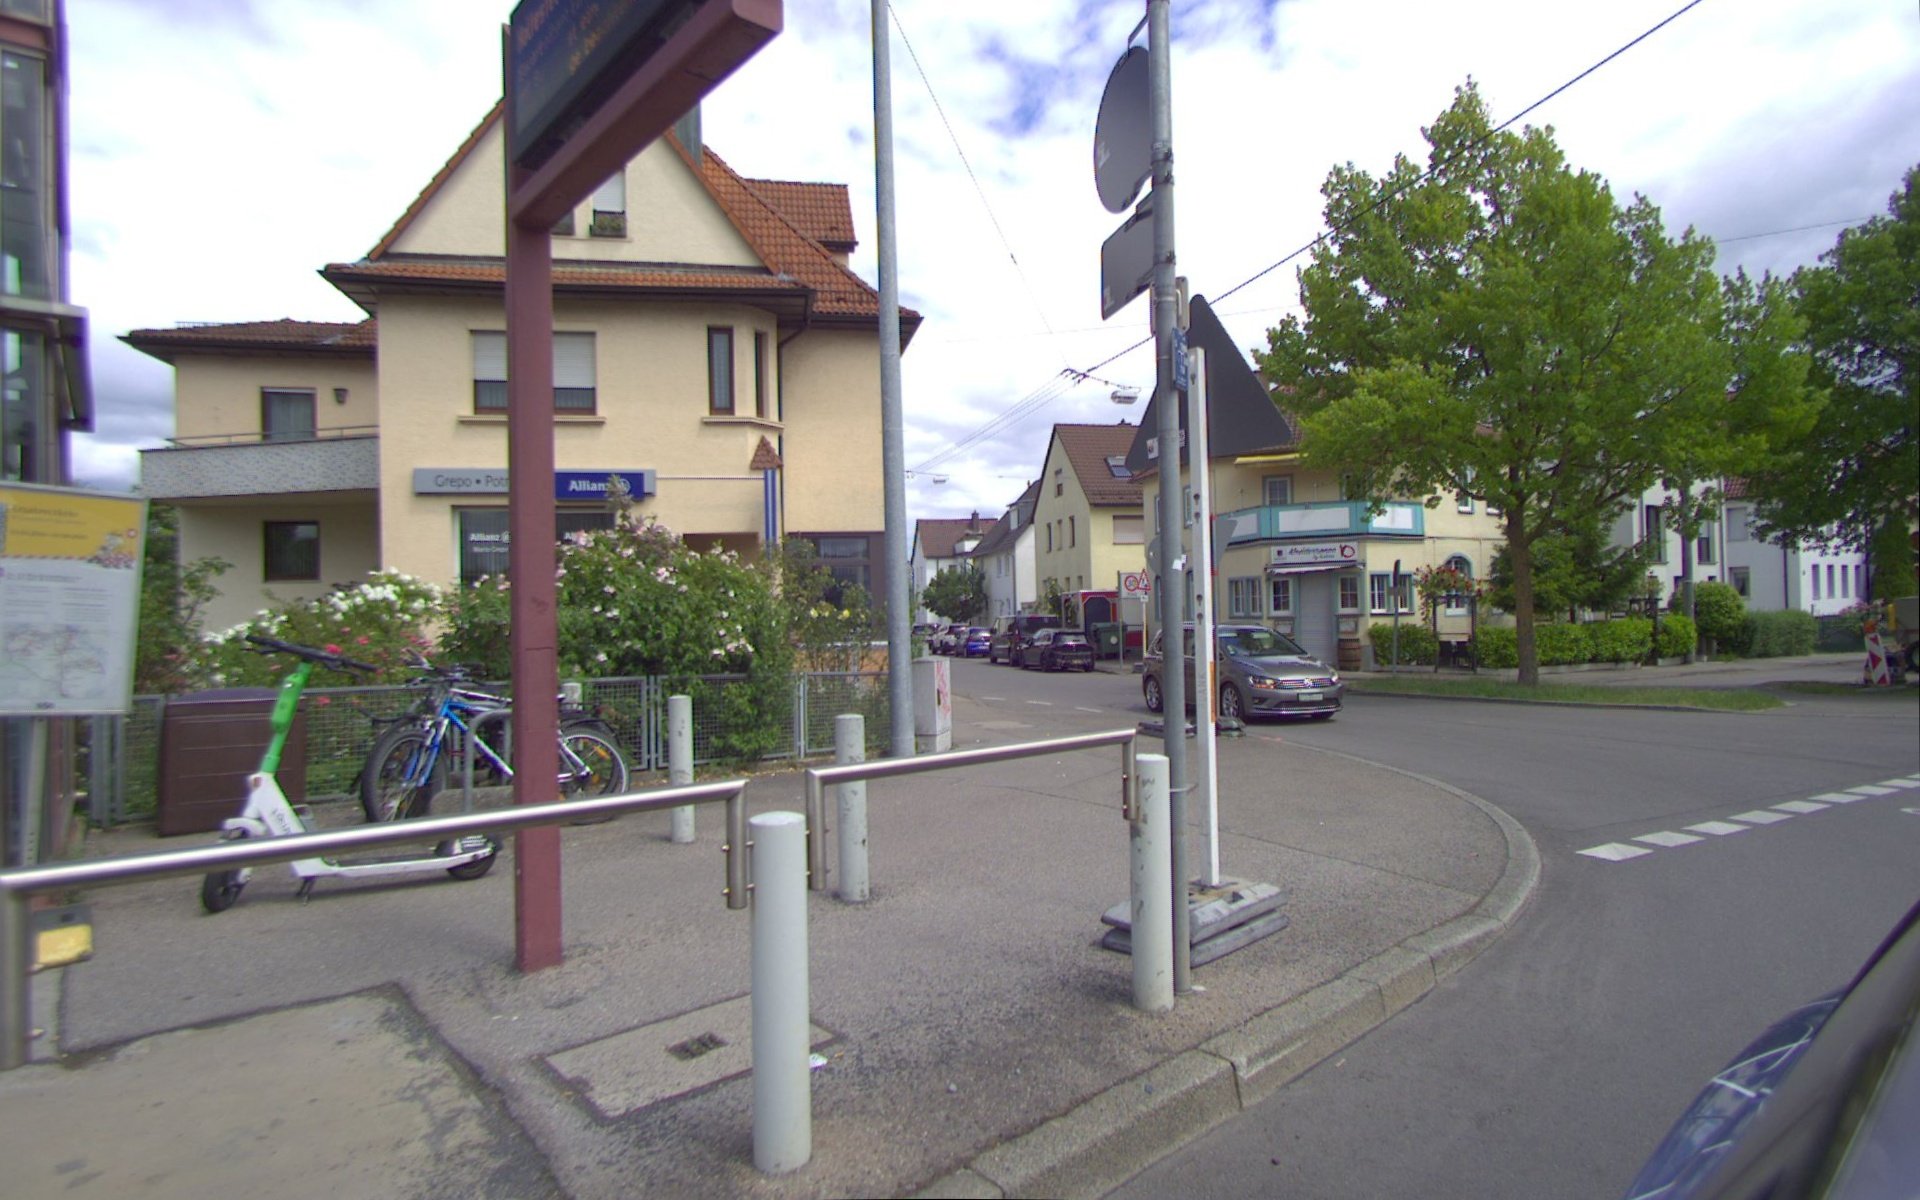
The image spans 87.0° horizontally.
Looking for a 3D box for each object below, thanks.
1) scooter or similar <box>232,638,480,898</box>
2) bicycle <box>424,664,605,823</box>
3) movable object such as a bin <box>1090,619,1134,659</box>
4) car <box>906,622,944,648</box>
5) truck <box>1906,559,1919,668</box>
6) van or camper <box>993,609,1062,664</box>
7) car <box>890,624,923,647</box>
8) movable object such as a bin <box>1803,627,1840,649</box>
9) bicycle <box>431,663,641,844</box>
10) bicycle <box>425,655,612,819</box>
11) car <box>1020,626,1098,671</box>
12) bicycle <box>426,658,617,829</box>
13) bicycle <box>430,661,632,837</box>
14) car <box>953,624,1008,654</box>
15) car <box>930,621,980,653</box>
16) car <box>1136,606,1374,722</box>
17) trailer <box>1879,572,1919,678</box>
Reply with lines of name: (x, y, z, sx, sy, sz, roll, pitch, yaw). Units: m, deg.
scooter or similar: (-2.845, 0.763, 4.814, 0.929, 1.126, 0.216, 4, -3, -40)
bicycle: (-3.169, 0.994, 7.237, 1.166, 1.021, 0.216, 0, -1, -31)
movable object such as a bin: (5.947, 1.524, 39.600, 1.385, 1.510, 1.308, 0, -2, -7)
car: (-2.243, 2.188, 63.836, 1.892, 1.573, 3.883, 0, -1, -10)
truck: (29.599, 0.202, 27.227, 2.301, 3.241, 6.617, 0, -4, 5)
van or camper: (2.576, 1.391, 39.538, 1.815, 2.025, 4.096, 0, -1, -9)
car: (-3.753, 2.453, 70.390, 1.892, 1.573, 3.883, 0, -1, -10)
movable object such as a bin: (39.675, 1.736, 46.603, 0.807, 0.953, 1.122, 0, -2, -34)
bicycle: (-2.605, 0.916, 6.276, 1.180, 1.001, 0.216, 0, -1, -31)
bicycle: (-3.023, 0.911, 6.978, 1.166, 1.021, 0.216, 0, -1, -31)
car: (3.315, 1.608, 34.610, 1.679, 1.395, 4.005, 0, -1, -9)
bicycle: (-2.901, 0.920, 6.739, 1.146, 1.026, 0.216, 0, -1, -31)
bicycle: (-2.744, 0.927, 6.523, 1.183, 1.014, 0.216, 0, -1, -31)
car: (0.946, 1.838, 48.812, 1.959, 1.378, 3.883, 0, -1, -10)
car: (-0.311, 1.886, 52.623, 1.959, 1.573, 3.883, 0, -1, -10)
car: (4.691, 0.995, 16.748, 1.830, 1.646, 4.007, 0, -2, -17)
trailer: (23.293, 0.495, 22.646, 5.563, 2.275, 2.601, 0, -3, -33)
